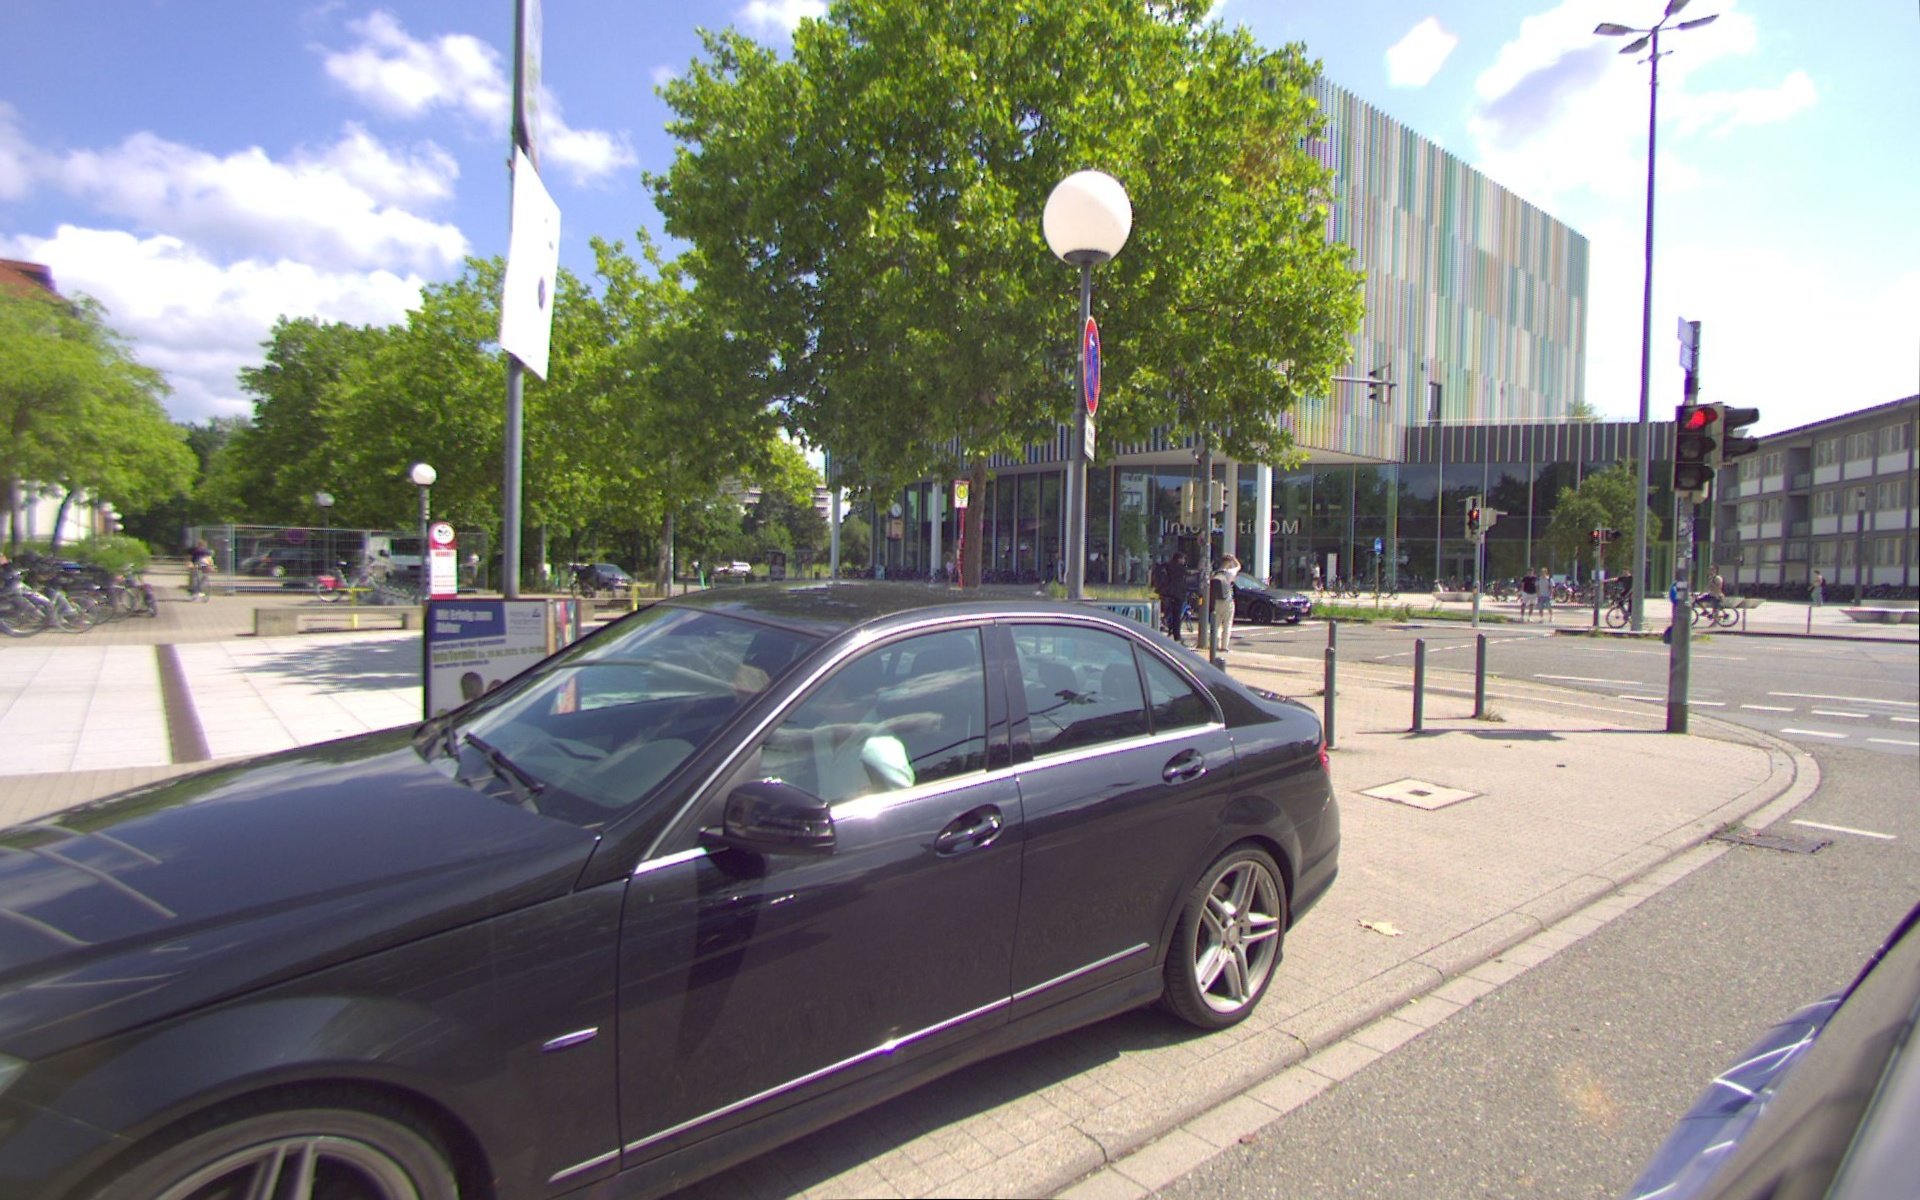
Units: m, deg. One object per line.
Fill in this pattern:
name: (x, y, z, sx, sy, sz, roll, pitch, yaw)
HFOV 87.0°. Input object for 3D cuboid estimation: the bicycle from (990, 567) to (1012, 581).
bicycle: (2.838, -1.804, 70.448, 1.515, 0.967, 0.374, -2, 3, -24)

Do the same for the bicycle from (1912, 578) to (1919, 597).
bicycle: (50.868, -0.612, 52.703, 1.755, 0.966, 0.525, 2, 3, 26)

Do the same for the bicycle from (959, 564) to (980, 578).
bicycle: (0.665, -2.077, 72.819, 1.515, 0.967, 0.374, -2, 3, -24)

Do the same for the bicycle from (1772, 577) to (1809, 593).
bicycle: (54.474, -0.987, 66.386, 1.753, 0.966, 0.525, 2, 3, 23)

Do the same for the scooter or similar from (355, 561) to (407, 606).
scooter or similar: (-16.450, -0.476, 28.782, 0.279, 1.248, 1.282, 3, 3, 36)

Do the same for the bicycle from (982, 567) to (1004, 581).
bicycle: (2.296, -1.813, 70.731, 1.515, 0.967, 0.374, -2, 3, -24)

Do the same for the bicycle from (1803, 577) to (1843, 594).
bicycle: (53.058, -0.886, 62.261, 1.753, 0.966, 0.525, 2, 3, 23)

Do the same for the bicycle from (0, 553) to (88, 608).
bicycle: (-19.354, -0.401, 21.062, 0.596, 1.112, 1.756, 0, 1, 20)

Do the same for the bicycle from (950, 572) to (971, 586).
bicycle: (0.057, -1.553, 73.843, 1.515, 0.967, 0.374, -2, 3, -24)

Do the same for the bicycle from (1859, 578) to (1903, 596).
bicycle: (52.239, -0.744, 57.417, 1.753, 0.966, 0.525, 2, 3, 23)

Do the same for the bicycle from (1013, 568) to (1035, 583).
bicycle: (4.328, -1.683, 68.584, 1.515, 0.967, 0.374, -2, 3, -24)

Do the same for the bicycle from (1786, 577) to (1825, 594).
bicycle: (53.743, -0.928, 64.336, 1.753, 0.966, 0.525, 2, 3, 23)

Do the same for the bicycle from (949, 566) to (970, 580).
bicycle: (-0.057, -1.983, 74.242, 1.515, 0.967, 0.374, -2, 3, -24)

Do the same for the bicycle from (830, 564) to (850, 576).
bicycle: (-10.253, -2.606, 86.705, 1.754, 0.967, 0.432, -3, 3, -40)

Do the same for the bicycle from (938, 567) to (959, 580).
bicycle: (-0.830, -1.969, 75.165, 1.515, 0.967, 0.374, -2, 3, -24)

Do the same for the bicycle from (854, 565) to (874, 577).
bicycle: (-7.953, -2.400, 83.932, 1.754, 0.967, 0.432, -3, 3, -40)

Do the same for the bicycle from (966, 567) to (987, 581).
bicycle: (1.163, -1.860, 72.157, 1.515, 0.967, 0.374, -2, 3, -24)

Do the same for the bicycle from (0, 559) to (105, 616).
bicycle: (-18.693, -0.281, 20.729, 0.596, 1.112, 1.756, 1, 2, 20)

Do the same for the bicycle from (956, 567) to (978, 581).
bicycle: (0.508, -1.896, 73.364, 1.515, 0.967, 0.374, -2, 3, -24)

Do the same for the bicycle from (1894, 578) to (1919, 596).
bicycle: (51.183, -0.691, 54.071, 1.753, 0.966, 0.525, 2, 3, 23)

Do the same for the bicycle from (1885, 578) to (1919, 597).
bicycle: (51.469, -0.691, 54.923, 1.753, 0.966, 0.525, 2, 3, 23)

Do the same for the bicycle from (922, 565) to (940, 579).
bicycle: (-2.158, -2.064, 75.173, 0.372, 0.967, 1.525, 1, 3, 39)

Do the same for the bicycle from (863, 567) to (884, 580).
bicycle: (-7.048, -2.155, 82.620, 1.754, 0.967, 0.432, -3, 3, -40)

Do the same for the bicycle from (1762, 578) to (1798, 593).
bicycle: (55.077, -0.977, 67.994, 1.753, 0.966, 0.525, 2, 3, 23)

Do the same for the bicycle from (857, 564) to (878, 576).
bicycle: (-7.655, -2.466, 83.580, 1.754, 0.967, 0.432, -3, 3, -40)

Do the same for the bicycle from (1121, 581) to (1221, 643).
bicycle: (4.122, 0.238, 19.717, 1.855, 1.086, 0.818, 3, 0, -36)

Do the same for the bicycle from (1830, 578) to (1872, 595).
bicycle: (52.546, -0.791, 59.721, 1.753, 0.966, 0.525, 2, 3, 23)

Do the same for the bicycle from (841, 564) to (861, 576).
bicycle: (-9.164, -2.566, 85.185, 1.754, 0.967, 0.432, -3, 3, -40)

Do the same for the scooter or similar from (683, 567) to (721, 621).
scooter or similar: (-5.870, -0.145, 23.000, 0.347, 1.179, 1.192, -3, 3, -38)

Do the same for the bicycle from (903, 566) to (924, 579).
bicycle: (-3.614, -2.172, 79.000, 1.754, 0.967, 0.432, -3, 3, -40)

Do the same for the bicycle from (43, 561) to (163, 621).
bicycle: (-17.258, -0.206, 20.425, 0.596, 1.112, 1.757, 0, 3, 20)

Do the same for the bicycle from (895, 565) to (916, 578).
bicycle: (-4.305, -2.251, 80.005, 1.754, 0.967, 0.432, -3, 3, -40)

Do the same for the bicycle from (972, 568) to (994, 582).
bicycle: (1.591, -1.776, 71.111, 1.515, 0.967, 0.374, -2, 3, -24)

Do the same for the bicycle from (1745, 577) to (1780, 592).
bicycle: (55.490, -1.056, 69.989, 1.753, 0.966, 0.525, 2, 3, 23)

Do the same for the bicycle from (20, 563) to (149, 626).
bicycle: (-16.499, -0.130, 19.133, 0.596, 1.112, 1.757, 0, 3, 20)

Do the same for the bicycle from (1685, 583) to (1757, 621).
bicycle: (23.531, 0.041, 31.321, 1.654, 1.138, 0.689, 1, 2, 26)

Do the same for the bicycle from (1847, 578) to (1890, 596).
bicycle: (52.499, -0.766, 58.484, 1.753, 0.966, 0.525, 2, 3, 23)

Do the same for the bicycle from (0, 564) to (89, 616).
bicycle: (-21.537, -0.254, 23.617, 0.596, 1.112, 1.757, 0, 3, 20)

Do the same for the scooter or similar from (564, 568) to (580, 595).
scooter or similar: (-17.604, -0.823, 45.891, 0.519, 1.184, 1.577, 1, 0, -26)

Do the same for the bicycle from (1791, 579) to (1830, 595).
bicycle: (53.359, -0.828, 63.539, 1.753, 0.966, 0.525, 2, 3, 23)

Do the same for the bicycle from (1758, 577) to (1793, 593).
bicycle: (54.913, -1.019, 68.162, 1.753, 0.966, 0.525, 2, 3, 23)

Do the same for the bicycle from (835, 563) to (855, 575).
bicycle: (-9.756, -2.636, 86.117, 1.754, 0.967, 0.432, -3, 3, -40)

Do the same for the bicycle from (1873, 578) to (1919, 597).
bicycle: (51.900, -0.712, 56.140, 1.753, 0.966, 0.525, 2, 3, 23)

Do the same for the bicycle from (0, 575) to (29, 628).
bicycle: (-20.527, 0.046, 20.964, 0.596, 1.112, 1.756, 0, 1, 20)

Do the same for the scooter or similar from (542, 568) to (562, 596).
scooter or similar: (-19.176, -0.834, 47.604, 0.519, 1.262, 1.290, 1, 0, -5)

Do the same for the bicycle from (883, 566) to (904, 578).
bicycle: (-5.275, -2.241, 80.803, 1.754, 0.967, 0.432, -3, 3, -40)

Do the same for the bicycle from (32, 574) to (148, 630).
bicycle: (-17.948, 0.018, 20.919, 0.596, 1.112, 1.757, 0, 2, 20)

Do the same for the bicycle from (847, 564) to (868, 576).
bicycle: (-8.548, -2.484, 84.616, 1.754, 0.967, 0.432, -3, 3, -40)

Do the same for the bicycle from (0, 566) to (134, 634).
bicycle: (-16.095, -0.031, 18.270, 0.596, 1.112, 1.757, 0, 3, 20)

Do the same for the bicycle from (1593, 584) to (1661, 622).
bicycle: (21.069, 0.081, 31.997, 1.652, 1.138, 0.690, 1, 1, 23)

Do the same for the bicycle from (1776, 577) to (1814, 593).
bicycle: (54.247, -0.989, 65.772, 1.753, 0.966, 0.525, 2, 3, 23)
